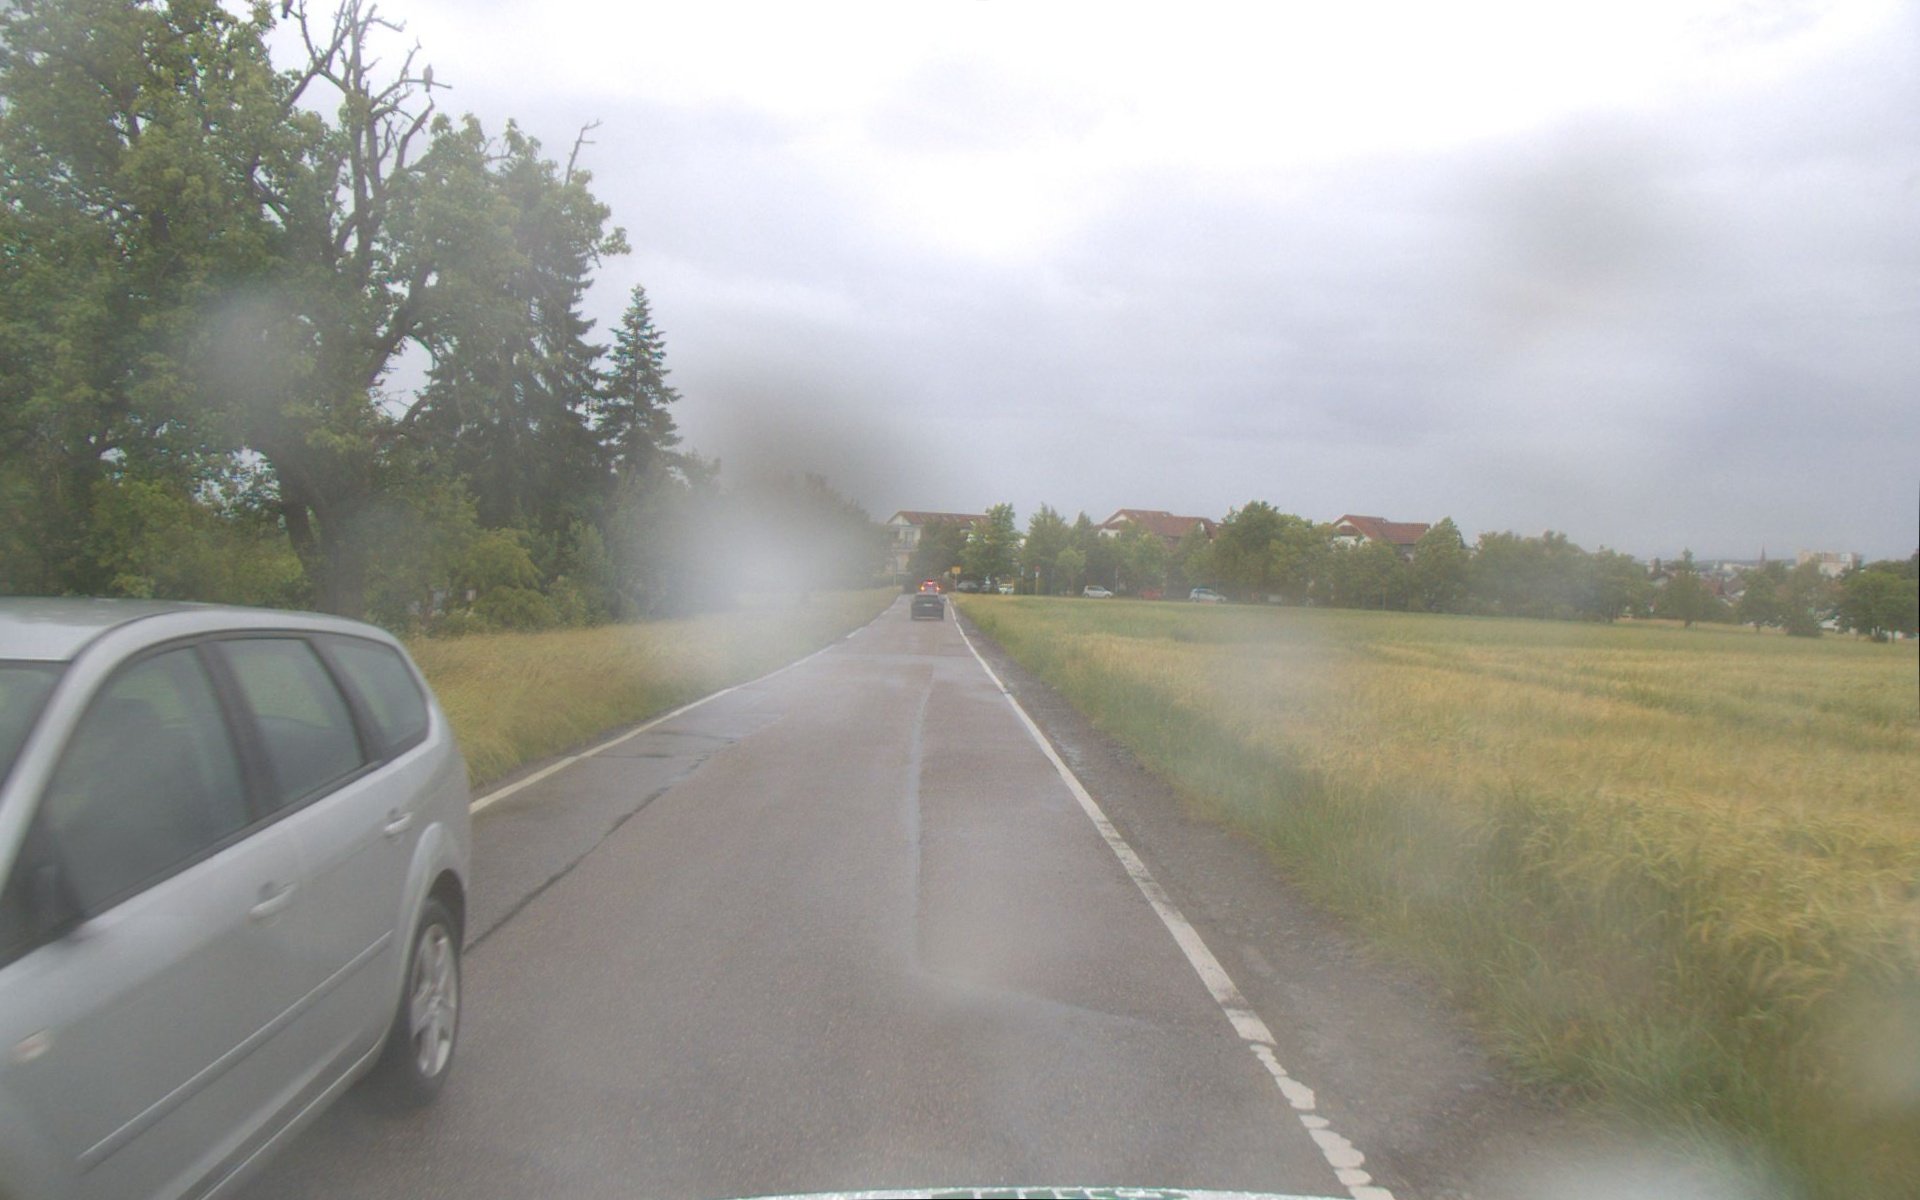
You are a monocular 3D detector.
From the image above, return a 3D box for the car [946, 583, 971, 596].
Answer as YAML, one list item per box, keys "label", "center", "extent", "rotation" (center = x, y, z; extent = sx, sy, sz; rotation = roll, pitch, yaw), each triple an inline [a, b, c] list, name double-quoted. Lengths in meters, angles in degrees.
- label: "car"
  center: [-0.158, -1.332, 208.882]
  extent: [1.627, 1.573, 3.998]
  rotation: [1, -1, 23]

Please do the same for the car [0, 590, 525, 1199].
- label: "car"
  center: [-2.287, 0.729, 3.550]
  extent: [1.704, 1.497, 4.121]
  rotation: [1, -1, -2]

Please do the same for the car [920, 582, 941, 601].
- label: "car"
  center: [-2.727, -0.755, 151.990]
  extent: [1.777, 1.622, 4.000]
  rotation: [1, -1, 0]

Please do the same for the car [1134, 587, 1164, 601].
- label: "car"
  center: [20.568, -0.667, 179.865]
  extent: [3.124, 1.394, 1.573]
  rotation: [1, -1, 12]

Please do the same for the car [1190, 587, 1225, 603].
- label: "car"
  center: [26.668, -0.549, 178.349]
  extent: [3.630, 1.591, 1.611]
  rotation: [1, -1, 12]

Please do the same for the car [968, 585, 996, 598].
- label: "car"
  center: [2.842, -1.091, 214.835]
  extent: [1.632, 1.573, 3.986]
  rotation: [1, -1, 34]

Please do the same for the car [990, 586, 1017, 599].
- label: "car"
  center: [5.778, -0.961, 219.135]
  extent: [1.632, 1.573, 3.986]
  rotation: [1, -1, 34]

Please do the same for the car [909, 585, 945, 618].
- label: "car"
  center: [-1.719, 0.094, 87.631]
  extent: [1.777, 1.622, 4.000]
  rotation: [1, -1, 0]

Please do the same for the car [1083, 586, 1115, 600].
- label: "car"
  center: [15.180, -0.778, 181.018]
  extent: [3.317, 1.394, 1.549]
  rotation: [1, -1, 12]
